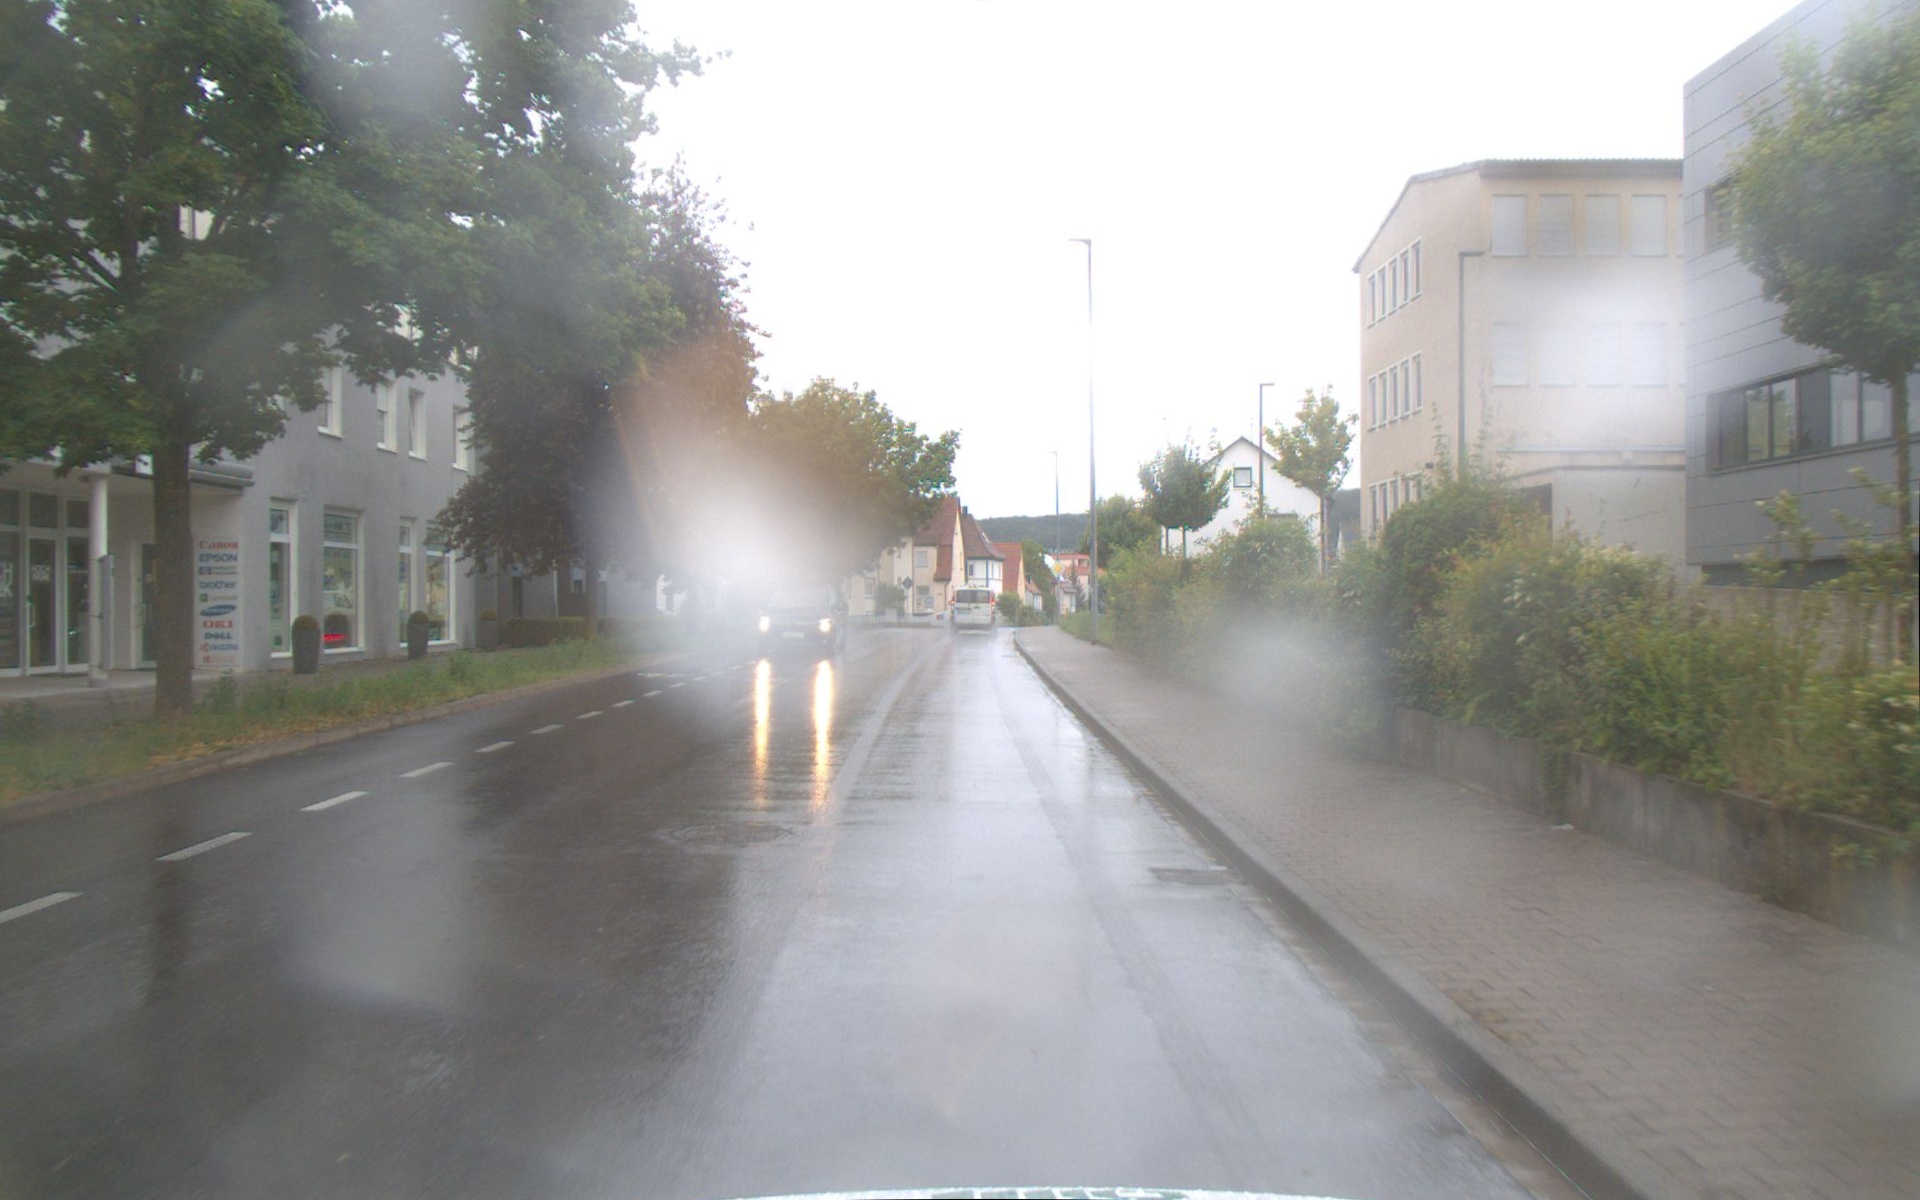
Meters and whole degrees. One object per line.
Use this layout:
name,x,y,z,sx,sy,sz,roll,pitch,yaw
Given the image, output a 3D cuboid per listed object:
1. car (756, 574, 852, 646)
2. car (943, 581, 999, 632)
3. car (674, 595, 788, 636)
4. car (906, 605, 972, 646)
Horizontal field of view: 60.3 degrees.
car,-3.667,0.195,39.581,1.812,1.582,4.502,1,1,0
car,0.416,0.242,66.636,2.074,1.921,4.500,1,1,-2
car,-8.239,0.559,59.632,3.819,1.306,1.582,-2,-1,1
car,-1.573,1.926,125.869,4.466,2.044,2.162,-13,-1,8
